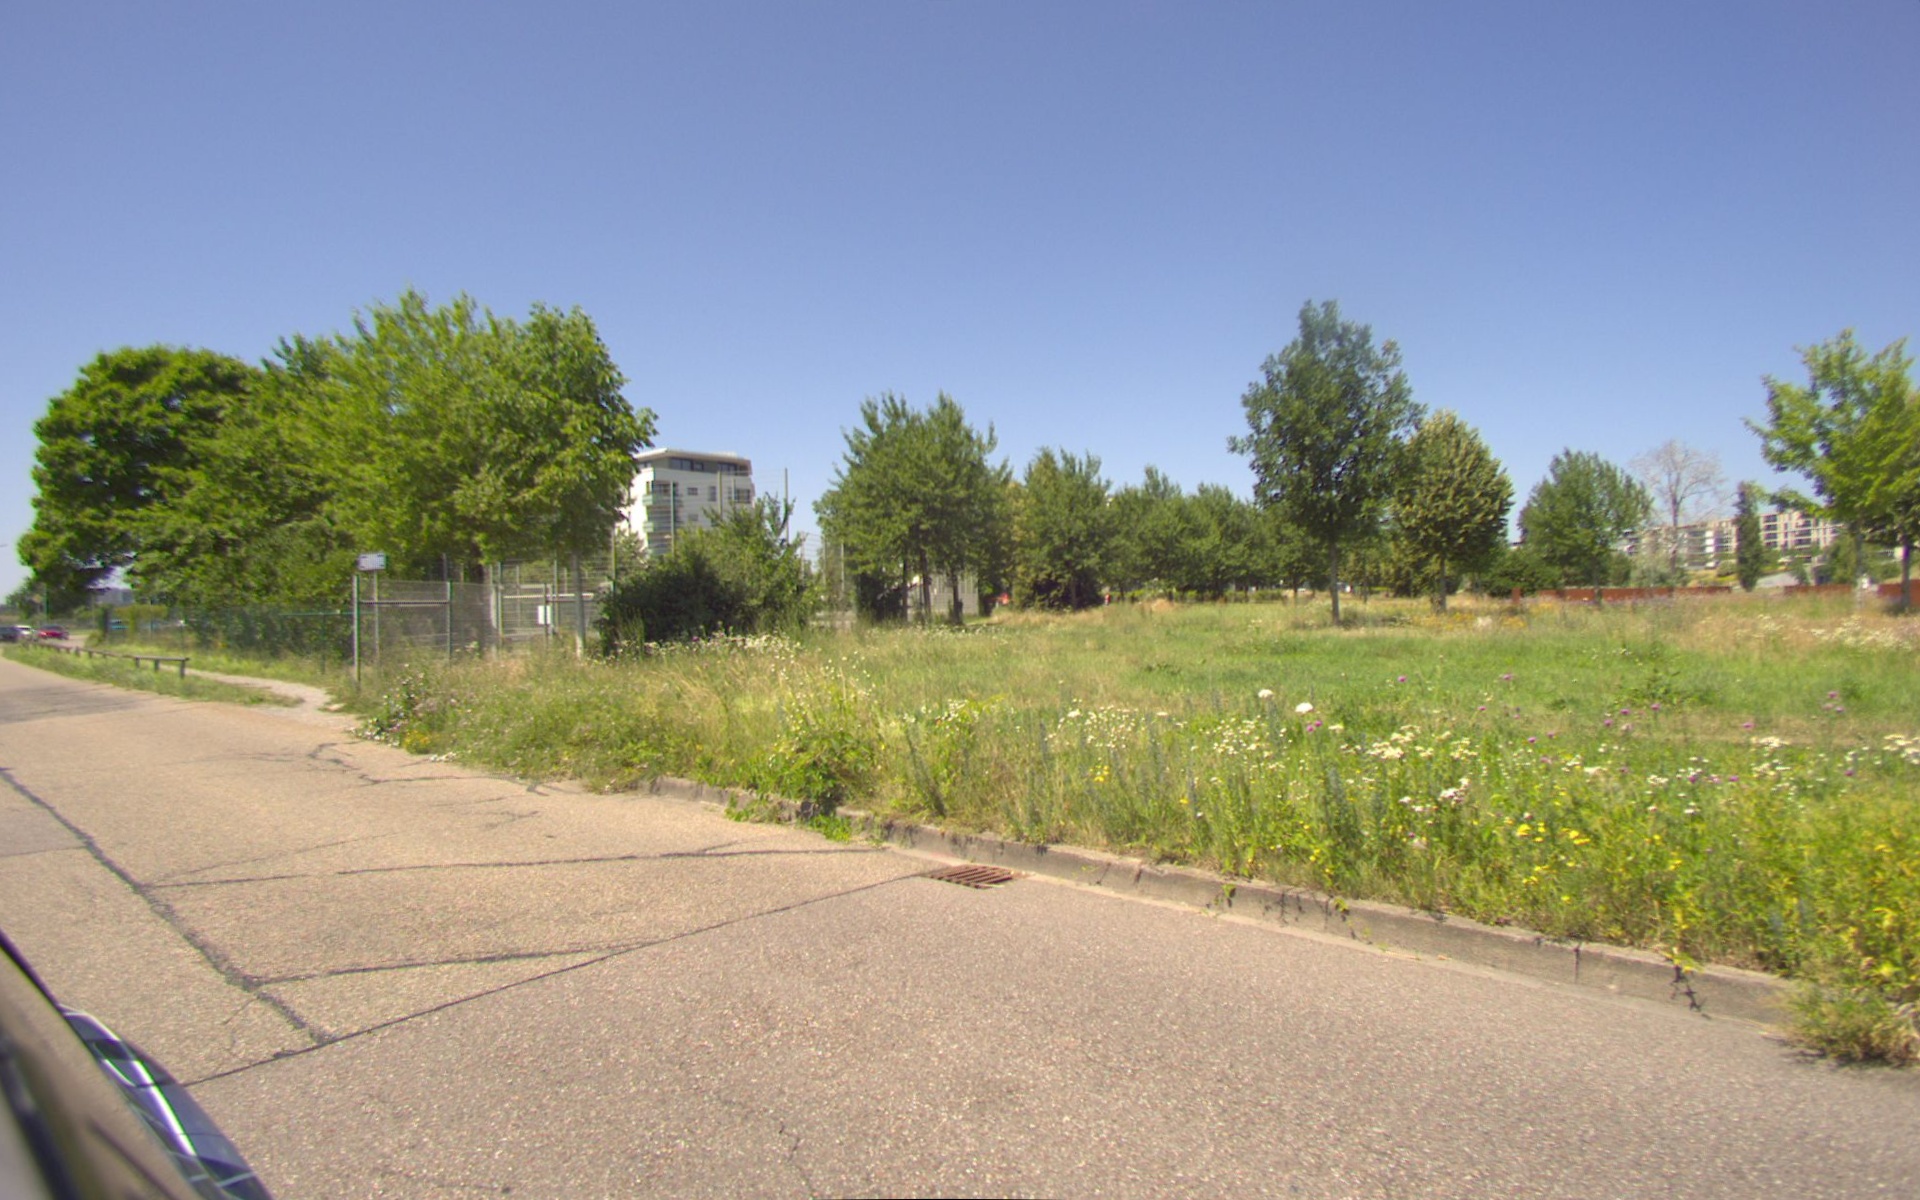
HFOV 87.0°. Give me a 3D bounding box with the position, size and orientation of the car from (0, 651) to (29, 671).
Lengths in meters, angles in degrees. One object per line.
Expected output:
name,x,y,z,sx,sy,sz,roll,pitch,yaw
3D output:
car,-78.277,4.995,83.114,1.626,1.478,3.878,-1,-1,-26

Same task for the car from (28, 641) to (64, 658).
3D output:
car,-87.579,4.747,97.031,1.626,1.478,3.878,-1,-1,-28

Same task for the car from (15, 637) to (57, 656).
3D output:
car,-80.838,4.068,88.591,1.626,1.478,3.879,-1,-1,-24
